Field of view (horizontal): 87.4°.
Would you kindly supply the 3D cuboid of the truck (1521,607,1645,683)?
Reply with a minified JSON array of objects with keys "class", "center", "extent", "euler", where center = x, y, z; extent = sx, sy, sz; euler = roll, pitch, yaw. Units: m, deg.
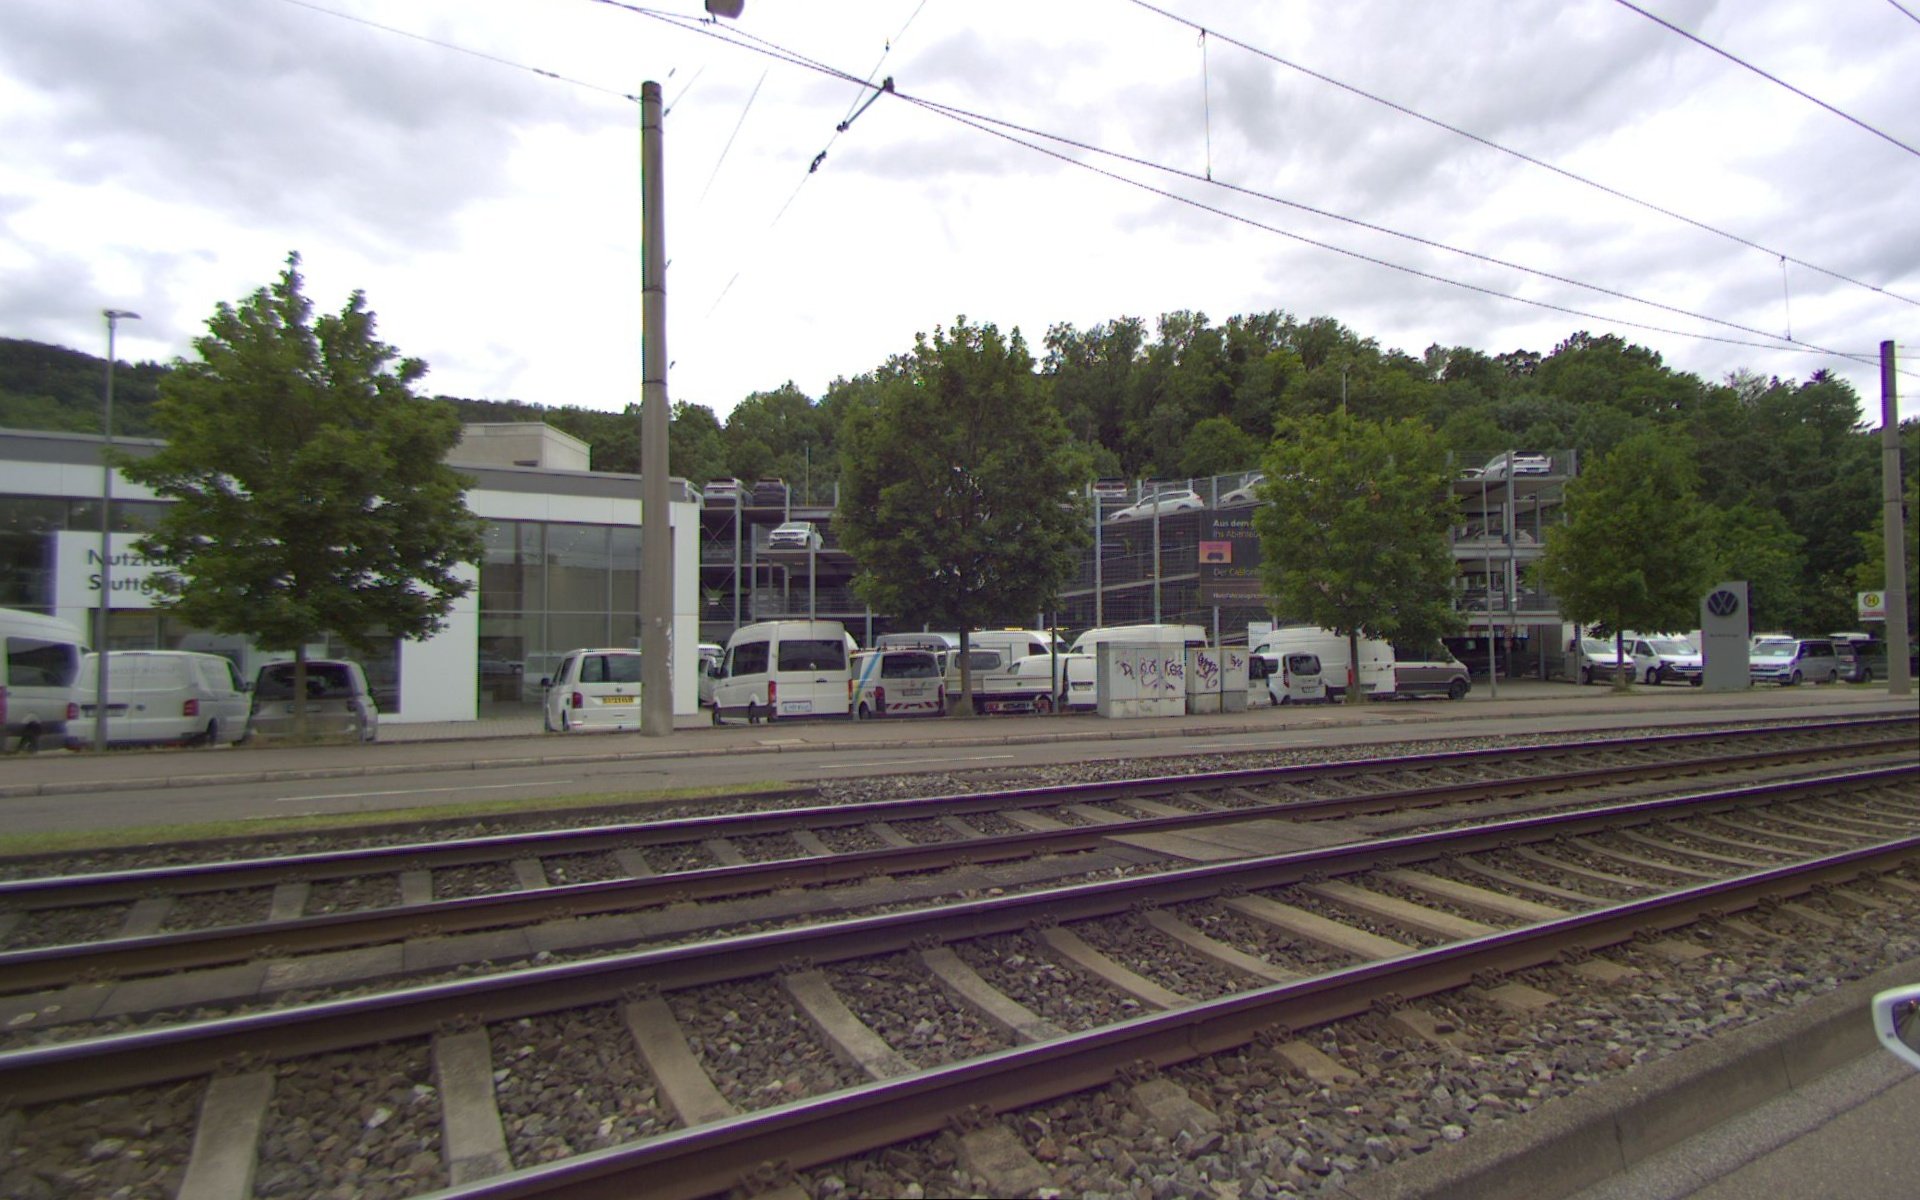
[{"class":"truck","center":[27.316,2.005,44.359],"extent":[2.077,3.125,5.943],"euler":[-1,-3,4]}]

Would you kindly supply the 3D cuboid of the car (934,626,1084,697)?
[{"class":"car","center":[1.879,2.434,40.174],"extent":[5.857,2.636,1.997],"euler":[-2,-3,36]}]

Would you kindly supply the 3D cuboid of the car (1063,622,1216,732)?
[{"class":"car","center":[4.960,2.107,28.402],"extent":[1.979,2.856,4.348],"euler":[1,-3,-28]}]

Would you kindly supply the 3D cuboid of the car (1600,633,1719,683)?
[{"class":"car","center":[30.222,2.498,43.600],"extent":[1.960,2.040,4.734],"euler":[0,-3,2]}]

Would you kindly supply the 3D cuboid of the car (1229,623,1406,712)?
[{"class":"car","center":[11.381,2.123,32.484],"extent":[2.216,2.636,5.459],"euler":[1,-3,-25]}]

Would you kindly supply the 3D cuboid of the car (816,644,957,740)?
[{"class":"car","center":[-1.966,2.235,25.549],"extent":[1.979,2.201,4.348],"euler":[1,-3,-28]}]

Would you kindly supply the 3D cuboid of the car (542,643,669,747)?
[{"class":"car","center":[-7.913,1.981,22.162],"extent":[1.979,2.036,4.348],"euler":[1,-3,-28]}]

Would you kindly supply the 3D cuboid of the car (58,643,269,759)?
[{"class":"car","center":[-14.538,1.752,18.658],"extent":[1.976,1.869,4.356],"euler":[1,-3,-24]}]

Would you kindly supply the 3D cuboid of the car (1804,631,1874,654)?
[{"class":"car","center":[78.334,3.786,89.551],"extent":[4.314,2.040,2.002],"euler":[0,-2,6]}]

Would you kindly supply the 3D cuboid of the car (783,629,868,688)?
[{"class":"car","center":[-5.079,2.164,37.373],"extent":[1.971,2.040,4.834],"euler":[1,-3,-23]}]

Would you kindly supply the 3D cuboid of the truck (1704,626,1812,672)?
[{"class":"truck","center":[47.780,2.956,60.315],"extent":[2.420,2.621,5.074],"euler":[0,-3,0]}]

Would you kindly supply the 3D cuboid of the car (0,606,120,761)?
[{"class":"car","center":[-16.238,1.346,16.809],"extent":[2.096,2.341,4.486],"euler":[1,-3,-24]}]

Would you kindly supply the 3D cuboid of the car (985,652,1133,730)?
[{"class":"car","center":[2.604,2.411,27.560],"extent":[1.979,1.935,4.348],"euler":[1,-3,-28]}]

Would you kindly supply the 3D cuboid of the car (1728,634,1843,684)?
[{"class":"car","center":[35.063,2.484,42.636],"extent":[4.856,2.040,1.987],"euler":[1,-3,-27]}]

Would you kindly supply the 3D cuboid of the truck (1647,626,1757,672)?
[{"class":"truck","center":[45.291,3.014,61.525],"extent":[2.420,2.621,5.780],"euler":[0,-3,0]}]

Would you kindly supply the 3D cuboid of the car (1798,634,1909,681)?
[{"class":"car","center":[40.475,2.596,45.491],"extent":[5.063,2.040,1.987],"euler":[1,-3,-27]}]

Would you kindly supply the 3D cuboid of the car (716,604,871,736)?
[{"class":"car","center":[-4.025,1.580,23.541],"extent":[2.089,2.733,4.946],"euler":[1,-3,-28]}]

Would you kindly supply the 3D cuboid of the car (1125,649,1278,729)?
[{"class":"car","center":[6.949,2.514,29.378],"extent":[1.979,2.133,4.348],"euler":[1,-3,-28]}]

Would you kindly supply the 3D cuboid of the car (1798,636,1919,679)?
[{"class":"car","center":[43.865,2.765,48.359],"extent":[4.981,2.040,2.163],"euler":[-2,-3,29]}]

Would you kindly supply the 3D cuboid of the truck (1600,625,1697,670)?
[{"class":"truck","center":[42.222,2.952,61.776],"extent":[2.420,2.621,5.074],"euler":[0,-3,0]}]

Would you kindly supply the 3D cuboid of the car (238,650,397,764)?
[{"class":"car","center":[-12.628,1.997,20.044],"extent":[1.976,1.973,4.356],"euler":[1,-3,-24]}]

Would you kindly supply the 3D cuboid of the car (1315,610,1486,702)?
[{"class":"car","center":[15.656,1.954,35.656],"extent":[5.853,3.058,2.103],"euler":[1,-3,-24]}]

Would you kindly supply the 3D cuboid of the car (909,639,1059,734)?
[{"class":"car","center":[0.502,2.123,25.737],"extent":[1.979,2.201,4.348],"euler":[1,-3,-28]}]

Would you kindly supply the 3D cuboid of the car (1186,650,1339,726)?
[{"class":"car","center":[9.154,2.608,30.770],"extent":[1.979,2.133,4.348],"euler":[1,-3,-28]}]
